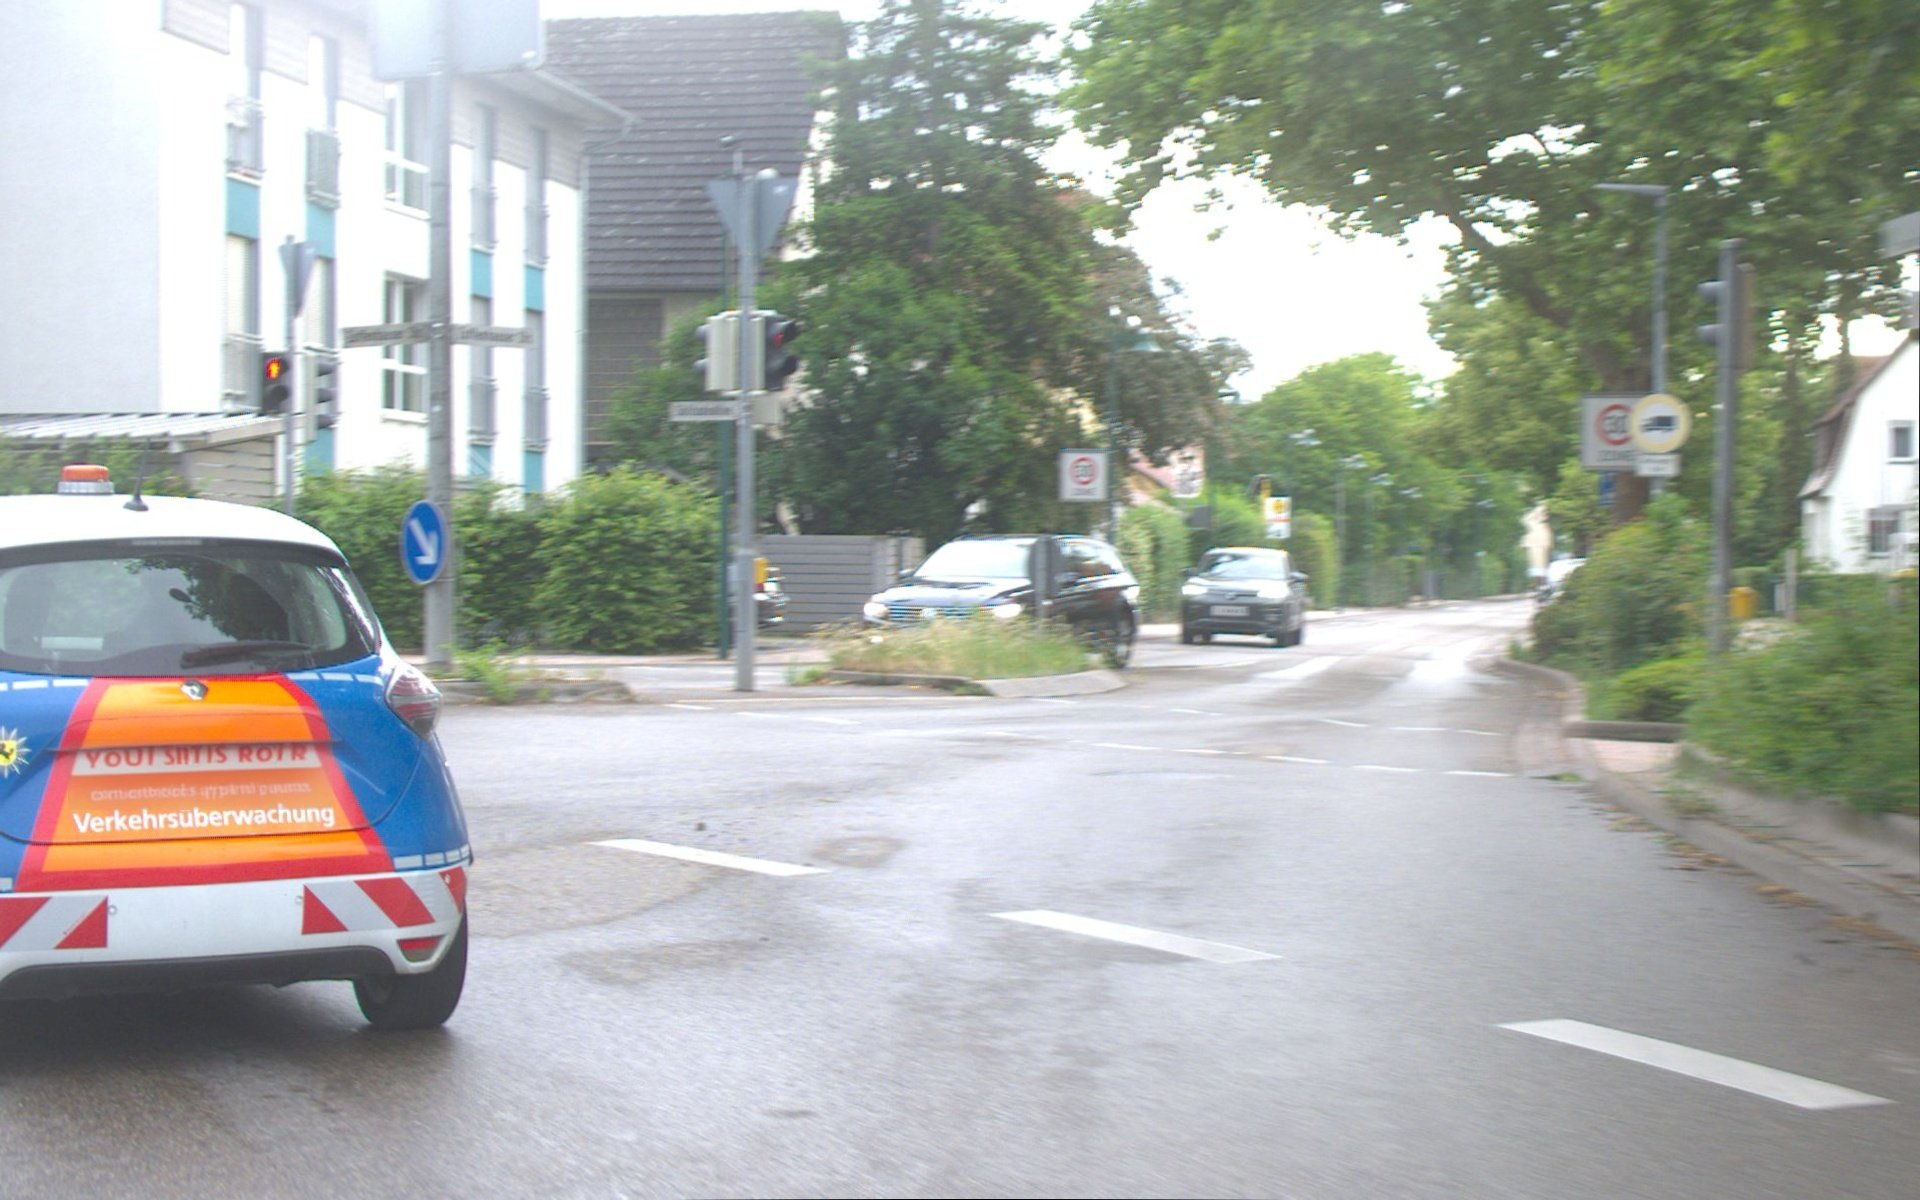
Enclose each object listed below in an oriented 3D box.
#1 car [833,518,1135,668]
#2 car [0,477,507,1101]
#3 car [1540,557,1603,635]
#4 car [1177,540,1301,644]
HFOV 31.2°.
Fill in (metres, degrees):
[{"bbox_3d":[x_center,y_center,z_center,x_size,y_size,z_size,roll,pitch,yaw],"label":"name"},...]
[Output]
[{"bbox_3d":[0.332,-0.071,36.602,1.944,1.447,4.295,2,1,18],"label":"car"},{"bbox_3d":[-2.888,0.436,10.685,1.745,1.575,4.001,-1,1,-26],"label":"car"},{"bbox_3d":[16.770,-0.128,94.329,1.644,2.010,3.714,1,2,10],"label":"car"},{"bbox_3d":[4.788,-0.165,58.613,1.878,1.663,3.713,1,1,8],"label":"car"}]
